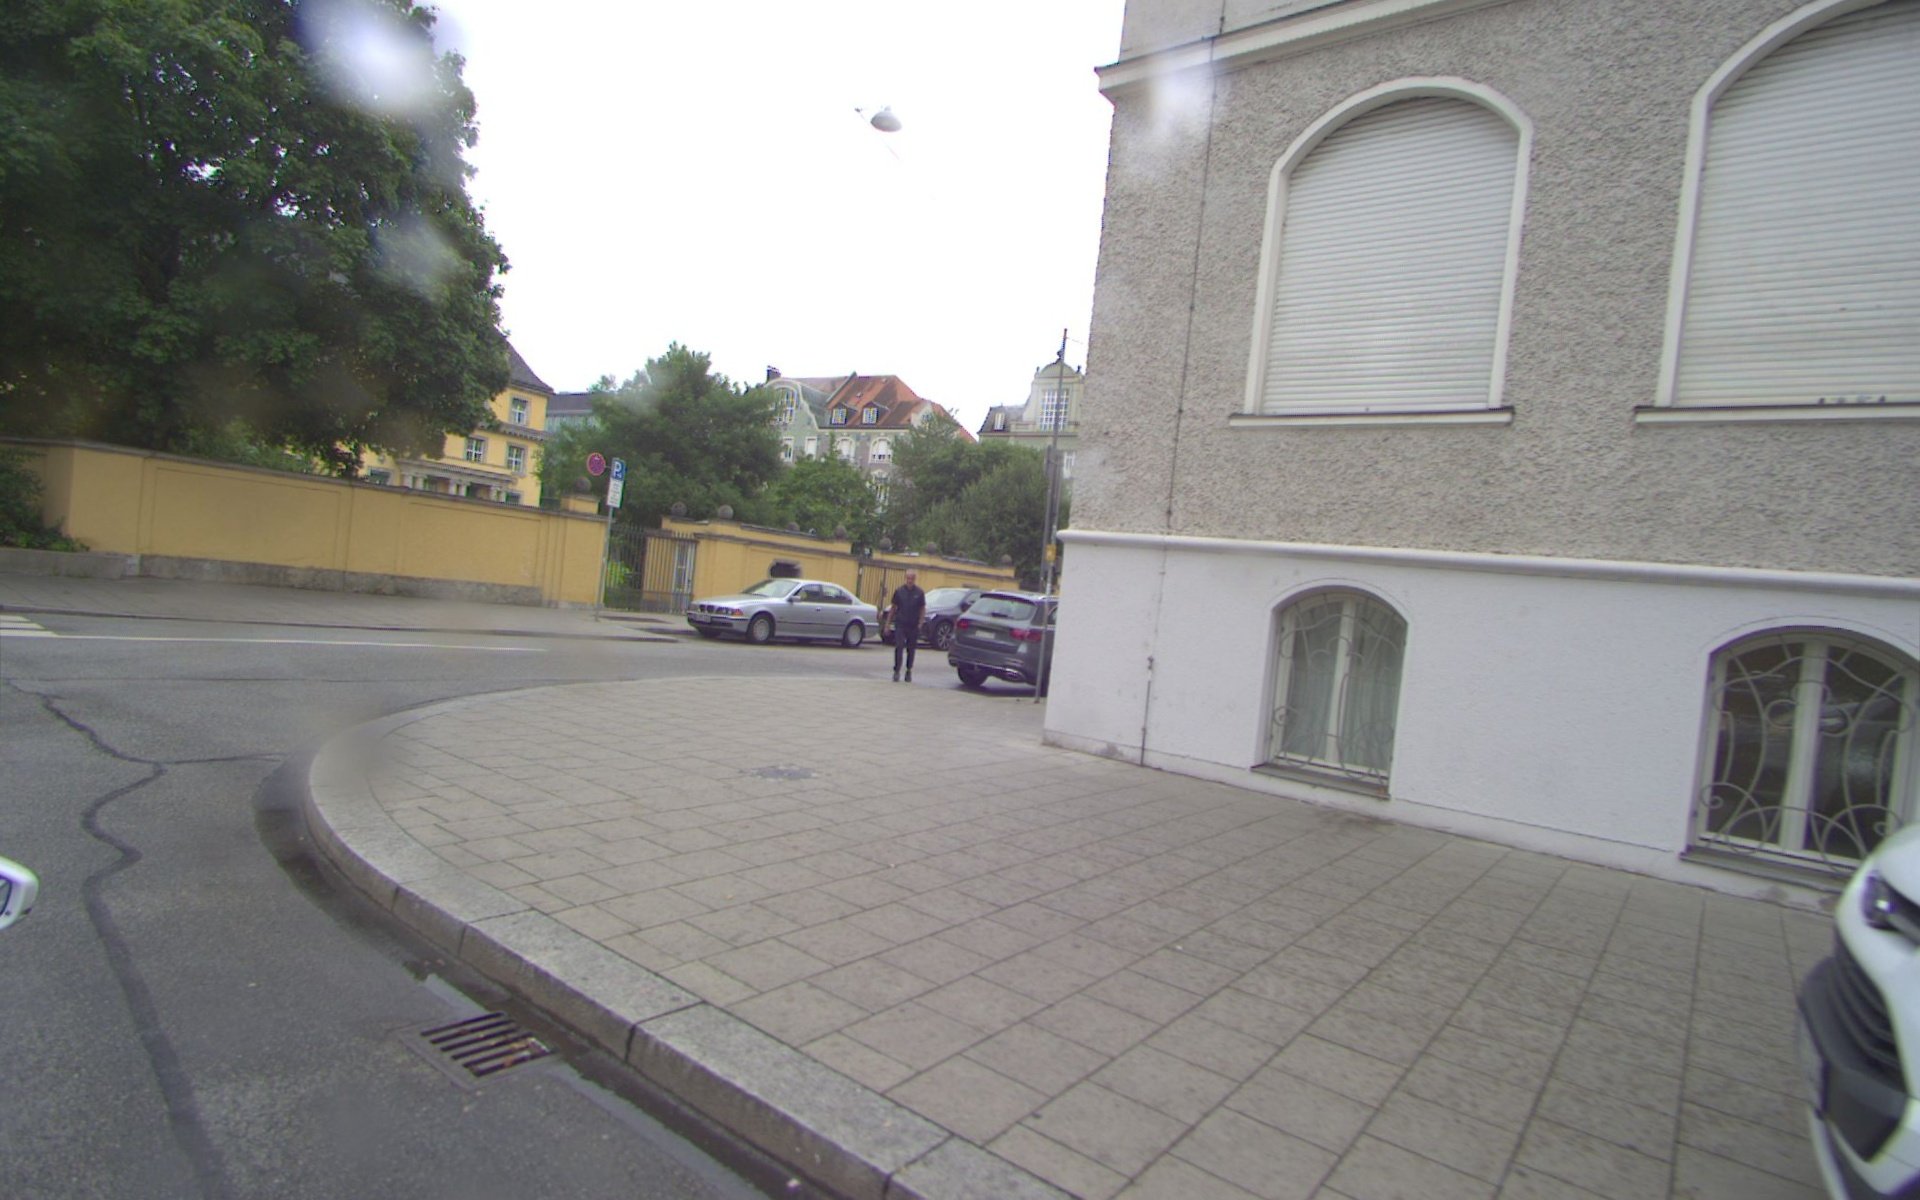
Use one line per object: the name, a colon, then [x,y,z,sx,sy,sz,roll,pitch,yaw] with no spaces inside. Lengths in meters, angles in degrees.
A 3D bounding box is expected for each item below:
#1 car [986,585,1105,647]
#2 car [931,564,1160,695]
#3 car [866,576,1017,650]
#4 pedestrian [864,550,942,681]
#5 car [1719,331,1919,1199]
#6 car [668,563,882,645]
car: [2.708,0.539,31.124,1.769,1.566,3.942,7,1,37]
car: [1.592,0.536,17.196,1.863,1.818,4.235,7,1,36]
car: [-0.407,0.383,26.181,1.769,1.566,3.942,7,1,37]
pedestrian: [-0.855,0.226,15.215,0.982,1.824,0.929,6,2,-3]
car: [4.060,0.828,0.800,5.291,1.947,1.936,7,2,36]
car: [-3.888,0.137,21.811,1.774,1.386,4.447,7,1,37]
